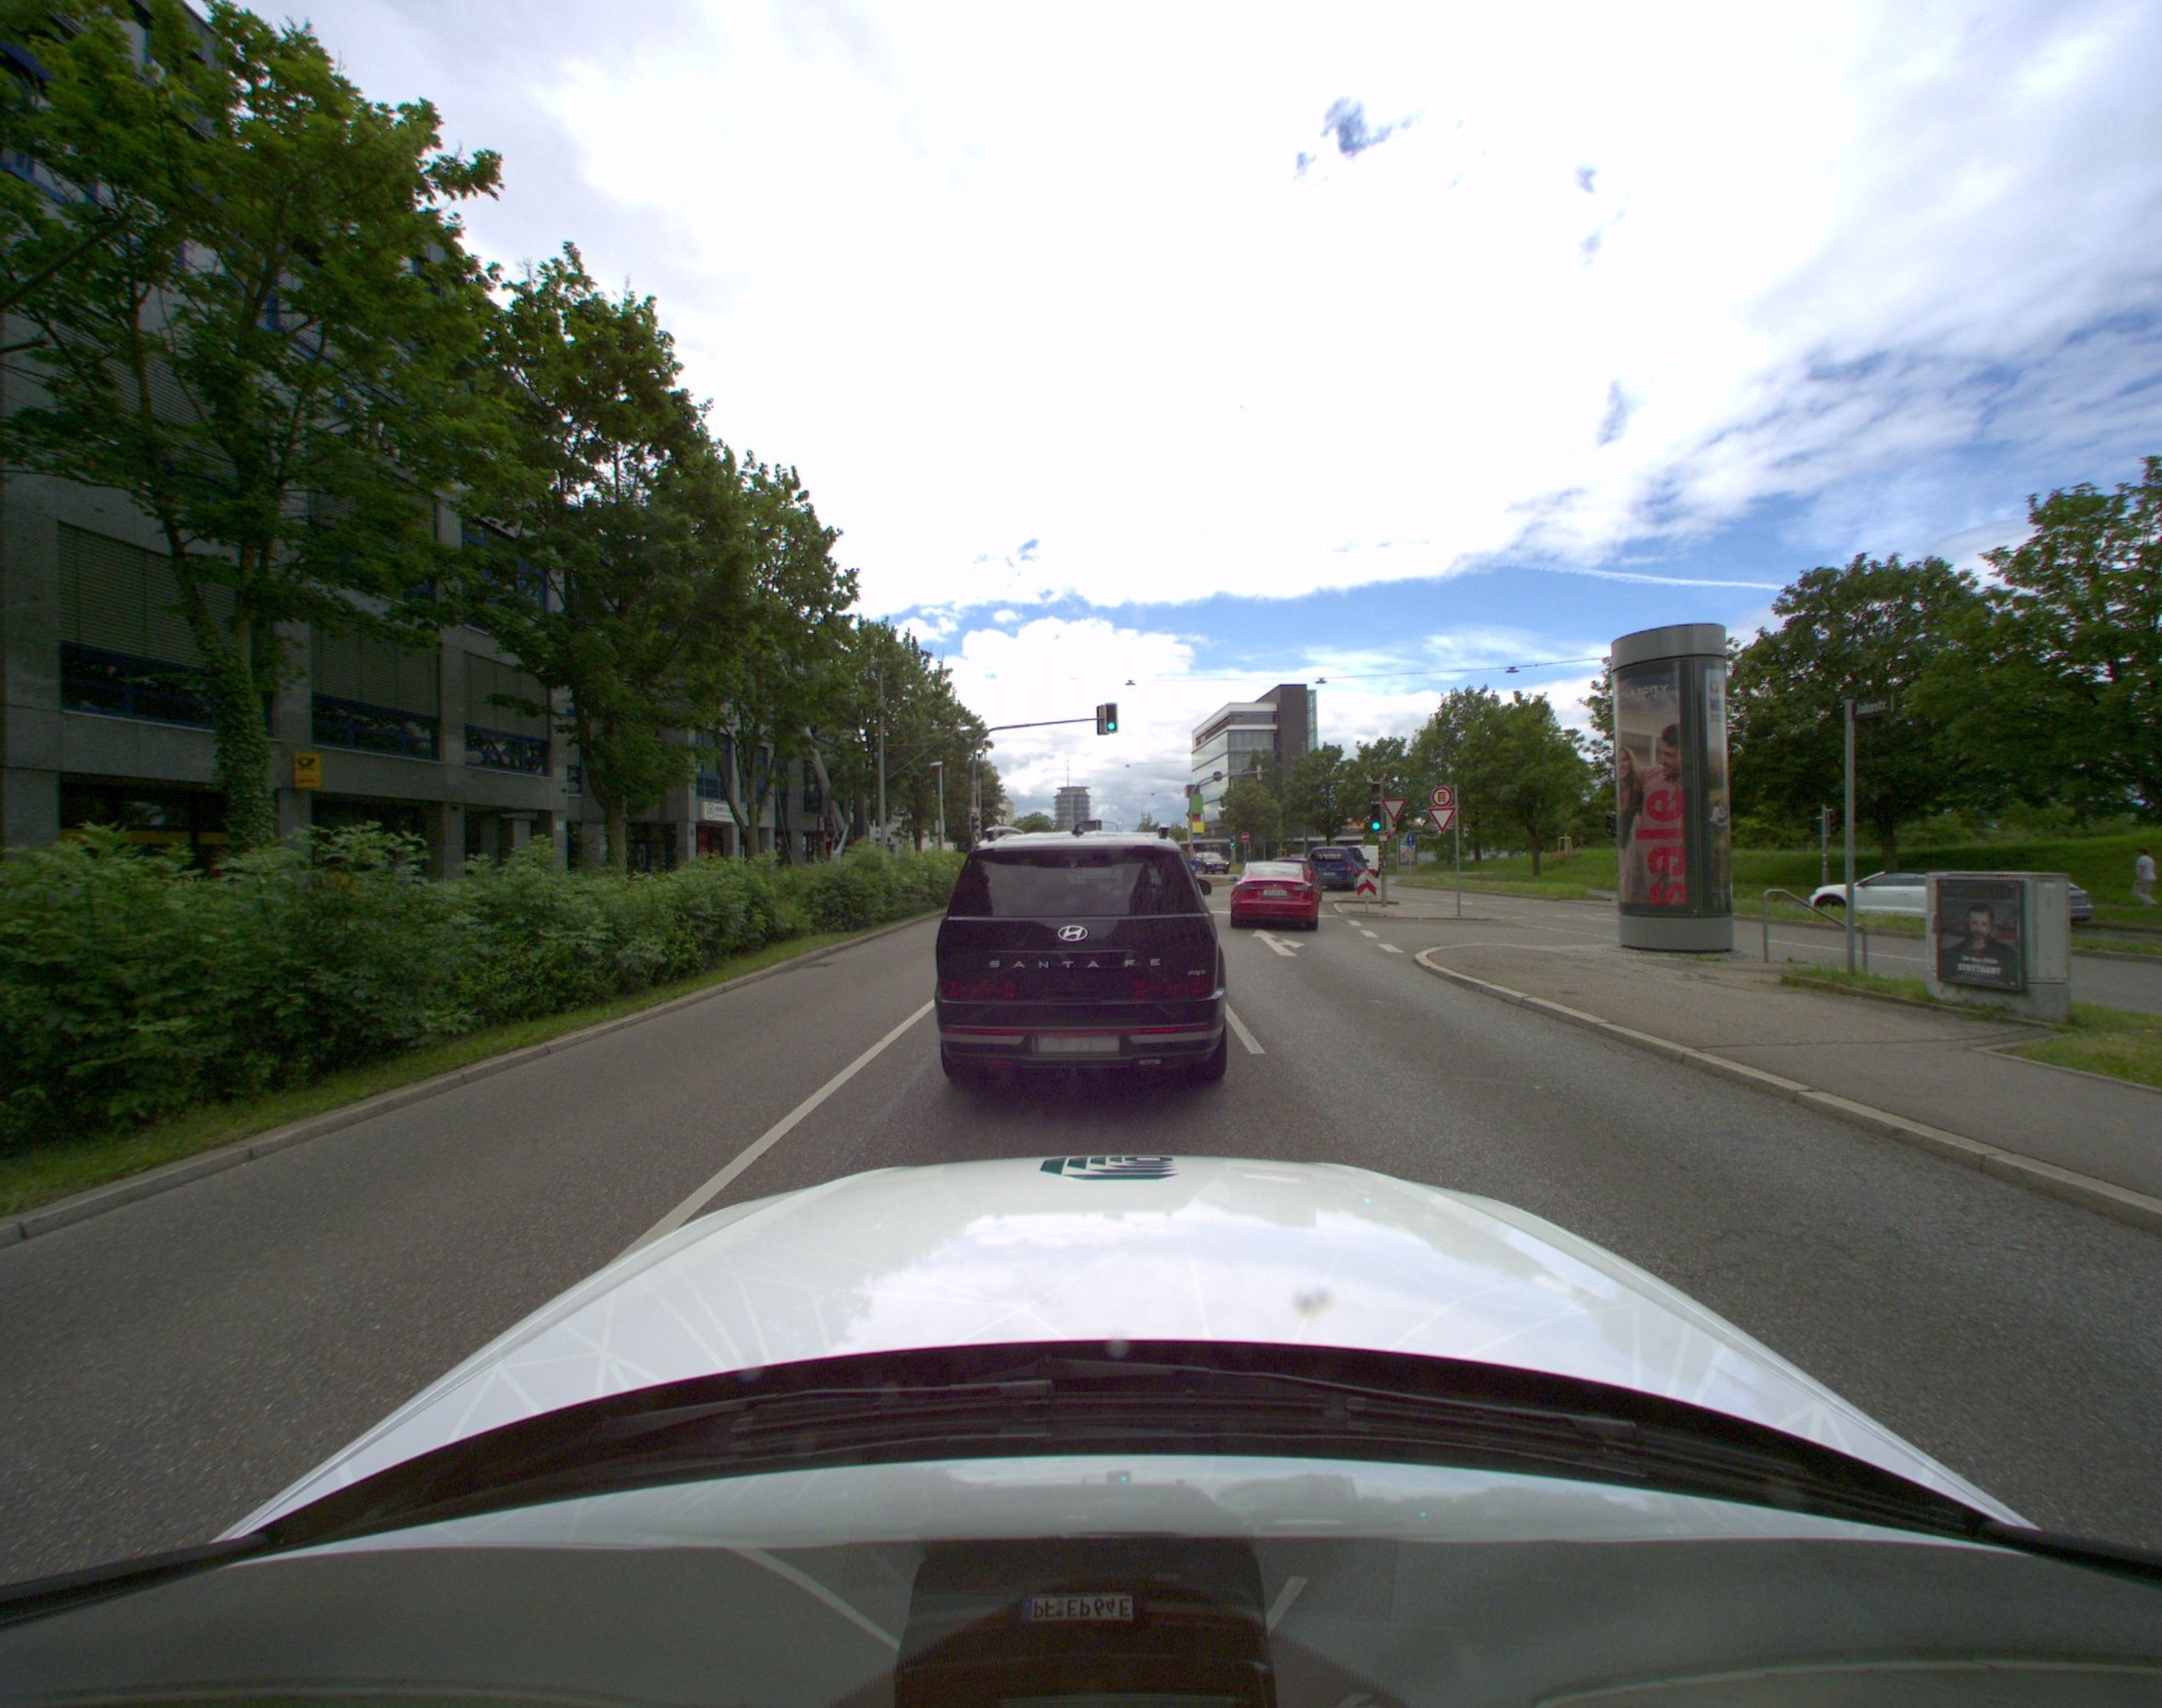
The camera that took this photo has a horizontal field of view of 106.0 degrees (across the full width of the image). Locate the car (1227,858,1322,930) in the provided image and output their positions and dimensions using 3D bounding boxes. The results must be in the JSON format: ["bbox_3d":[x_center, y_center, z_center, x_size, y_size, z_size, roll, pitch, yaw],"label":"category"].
[{"bbox_3d":[4.367,0.810,18.673,1.861,1.418,4.457,0,0,12],"label":"car"}]

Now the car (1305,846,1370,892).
[{"bbox_3d":[11.350,0.616,35.850,1.884,1.859,4.738,0,0,28],"label":"car"}]

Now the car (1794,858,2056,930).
[{"bbox_3d":[21.631,0.946,21.191,1.850,1.529,4.472,0,1,-11],"label":"car"}]

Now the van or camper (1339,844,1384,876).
[{"bbox_3d":[17.317,0.327,50.404,1.981,1.917,4.422,0,1,10],"label":"van or camper"}]

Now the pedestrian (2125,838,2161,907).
[{"bbox_3d":[30.600,0.508,23.361,0.591,1.917,0.748,-6,5,-40],"label":"pedestrian"}]

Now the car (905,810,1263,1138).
[{"bbox_3d":[0.086,0.632,6.561,1.895,1.731,4.448,0,0,2],"label":"car"}]

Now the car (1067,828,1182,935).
[{"bbox_3d":[1.076,0.500,17.379,1.890,1.969,4.648,0,0,10],"label":"car"}]

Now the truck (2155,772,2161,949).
[{"bbox_3d":[26.235,0.162,13.838,2.821,3.925,9.420,0,0,-12],"label":"truck"}]

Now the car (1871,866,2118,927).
[{"bbox_3d":[25.011,1.096,22.545,1.984,1.442,4.143,0,0,-11],"label":"car"}]

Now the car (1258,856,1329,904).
[{"bbox_3d":[7.196,0.813,27.362,1.729,1.481,3.739,0,0,24],"label":"car"}]

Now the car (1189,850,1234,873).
[{"bbox_3d":[9.557,0.504,59.877,1.889,1.564,4.380,0,1,-11],"label":"car"}]

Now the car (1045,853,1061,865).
[{"bbox_3d":[-3.731,0.664,107.094,1.781,1.537,4.386,1,0,-7],"label":"car"}]

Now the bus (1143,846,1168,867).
[{"bbox_3d":[12.139,0.444,133.125,2.958,3.116,9.238,-2,-1,-1],"label":"bus"}]

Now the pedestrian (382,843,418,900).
[{"bbox_3d":[-16.484,0.414,19.712,0.364,1.334,0.558,2,0,-3],"label":"pedestrian"}]

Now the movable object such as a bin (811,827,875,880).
[{"bbox_3d":[-11.989,-0.026,41.248,1.898,2.531,4.128,1,0,1],"label":"movable object such as a bin"}]

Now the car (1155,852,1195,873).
[{"bbox_3d":[6.721,0.605,58.636,1.782,1.425,4.382,0,1,-9],"label":"car"}]

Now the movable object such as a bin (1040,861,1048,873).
[{"bbox_3d":[-3.127,1.102,68.941,0.563,1.012,0.836,-1,0,-8],"label":"movable object such as a bin"}]
